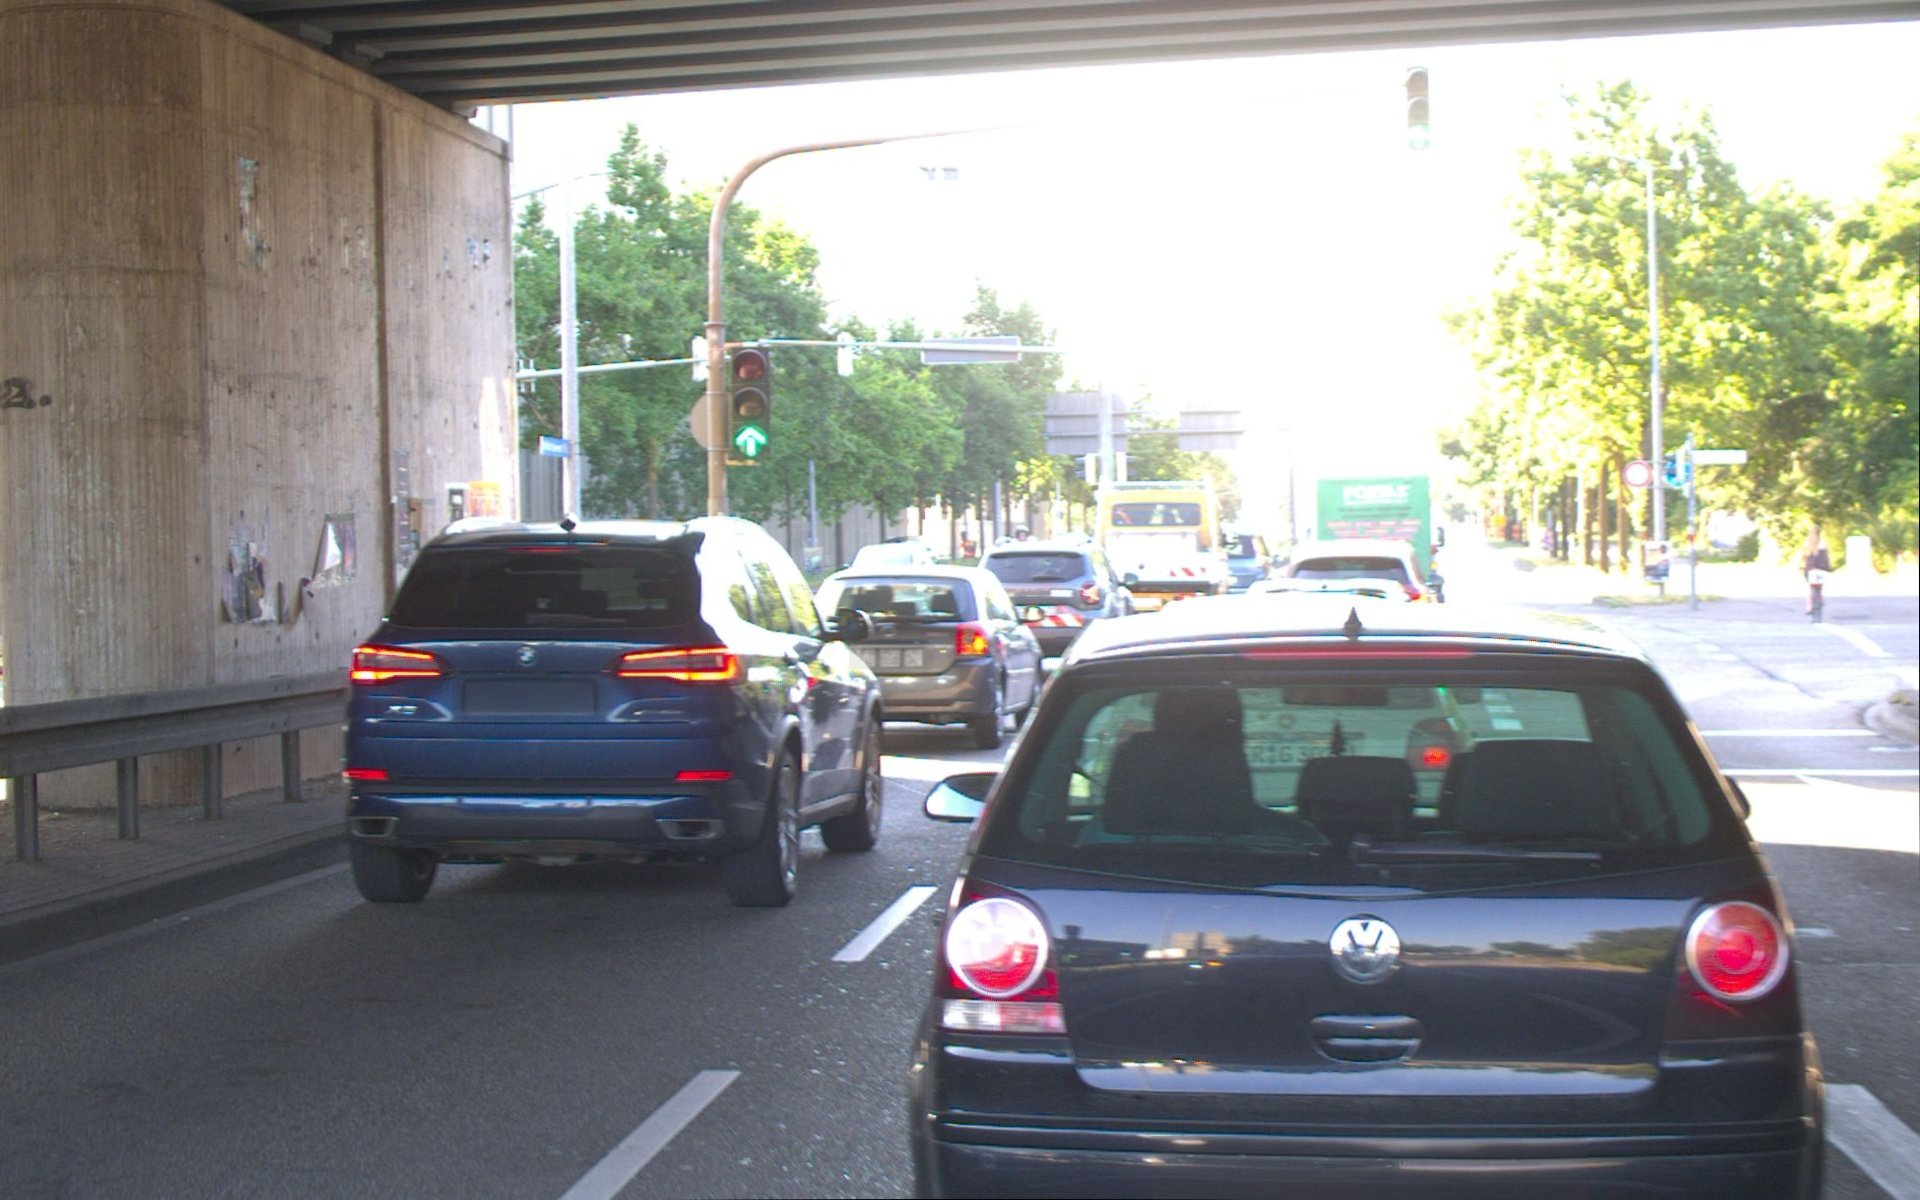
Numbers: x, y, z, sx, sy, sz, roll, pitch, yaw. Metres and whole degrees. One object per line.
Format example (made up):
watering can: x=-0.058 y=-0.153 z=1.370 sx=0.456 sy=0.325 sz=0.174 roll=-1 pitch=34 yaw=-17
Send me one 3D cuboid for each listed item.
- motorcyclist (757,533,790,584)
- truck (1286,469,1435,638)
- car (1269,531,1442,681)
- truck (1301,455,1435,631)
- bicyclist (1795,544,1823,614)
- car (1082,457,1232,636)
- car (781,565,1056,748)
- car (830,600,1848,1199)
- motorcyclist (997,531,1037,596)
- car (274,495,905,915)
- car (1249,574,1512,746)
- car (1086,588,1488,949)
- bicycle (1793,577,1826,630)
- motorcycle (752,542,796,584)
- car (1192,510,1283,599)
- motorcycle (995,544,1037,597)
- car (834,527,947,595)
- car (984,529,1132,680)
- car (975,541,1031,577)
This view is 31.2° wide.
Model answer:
motorcyclist: x=-5.188 y=-1.146 z=95.679 sx=0.681 sy=1.419 sz=0.867 roll=1 pitch=0 yaw=12
truck: x=5.774 y=-0.652 z=49.246 sx=1.997 sy=2.307 sz=3.999 roll=1 pitch=0 yaw=8
car: x=4.438 y=0.050 z=38.270 sx=1.797 sy=1.553 sz=3.999 roll=1 pitch=0 yaw=8
truck: x=6.463 y=-0.881 z=54.175 sx=1.997 sy=2.659 sz=3.999 roll=1 pitch=0 yaw=8
bicyclist: x=15.129 y=-0.378 z=61.271 sx=0.427 sy=1.229 sz=0.459 roll=-1 pitch=0 yaw=8
car: x=2.973 y=-0.789 z=52.304 sx=2.137 sy=2.567 sz=5.086 roll=1 pitch=0 yaw=3
car: x=-0.278 y=0.432 z=28.691 sx=1.617 sy=1.405 sz=3.681 roll=1 pitch=0 yaw=10
car: x=0.783 y=0.722 z=7.363 sx=1.617 sy=1.405 sz=3.682 roll=1 pitch=0 yaw=6
motorcyclist: x=1.239 y=-0.809 z=74.820 sx=0.797 sy=1.345 sz=1.275 roll=-3 pitch=2 yaw=1
car: x=-1.603 y=0.422 z=16.667 sx=1.994 sy=1.728 sz=4.531 roll=1 pitch=0 yaw=8
car: x=3.492 y=0.446 z=28.372 sx=1.994 sy=1.290 sz=3.999 roll=1 pitch=0 yaw=8
car: x=1.386 y=0.662 z=15.732 sx=1.579 sy=1.408 sz=4.062 roll=1 pitch=0 yaw=2
bicycle: x=15.129 y=0.060 z=61.263 sx=0.437 sy=0.911 sz=1.026 roll=-2 pitch=0 yaw=8
motorcycle: x=-5.183 y=-1.030 z=95.751 sx=0.681 sy=1.152 sz=2.237 roll=1 pitch=0 yaw=11
car: x=5.467 y=-0.876 z=67.474 sx=1.617 sy=1.673 sz=3.682 roll=1 pitch=0 yaw=7
motorcycle: x=1.225 y=-0.650 z=74.772 sx=0.840 sy=1.072 sz=2.401 roll=-3 pitch=1 yaw=1
car: x=-1.553 y=-0.874 z=78.200 sx=1.994 sy=1.470 sz=4.079 roll=1 pitch=0 yaw=7
car: x=1.196 y=0.040 z=40.454 sx=1.617 sy=1.673 sz=3.682 roll=1 pitch=0 yaw=3
car: x=1.921 y=-1.811 z=152.081 sx=1.994 sy=1.396 sz=4.348 roll=-4 pitch=0 yaw=6
